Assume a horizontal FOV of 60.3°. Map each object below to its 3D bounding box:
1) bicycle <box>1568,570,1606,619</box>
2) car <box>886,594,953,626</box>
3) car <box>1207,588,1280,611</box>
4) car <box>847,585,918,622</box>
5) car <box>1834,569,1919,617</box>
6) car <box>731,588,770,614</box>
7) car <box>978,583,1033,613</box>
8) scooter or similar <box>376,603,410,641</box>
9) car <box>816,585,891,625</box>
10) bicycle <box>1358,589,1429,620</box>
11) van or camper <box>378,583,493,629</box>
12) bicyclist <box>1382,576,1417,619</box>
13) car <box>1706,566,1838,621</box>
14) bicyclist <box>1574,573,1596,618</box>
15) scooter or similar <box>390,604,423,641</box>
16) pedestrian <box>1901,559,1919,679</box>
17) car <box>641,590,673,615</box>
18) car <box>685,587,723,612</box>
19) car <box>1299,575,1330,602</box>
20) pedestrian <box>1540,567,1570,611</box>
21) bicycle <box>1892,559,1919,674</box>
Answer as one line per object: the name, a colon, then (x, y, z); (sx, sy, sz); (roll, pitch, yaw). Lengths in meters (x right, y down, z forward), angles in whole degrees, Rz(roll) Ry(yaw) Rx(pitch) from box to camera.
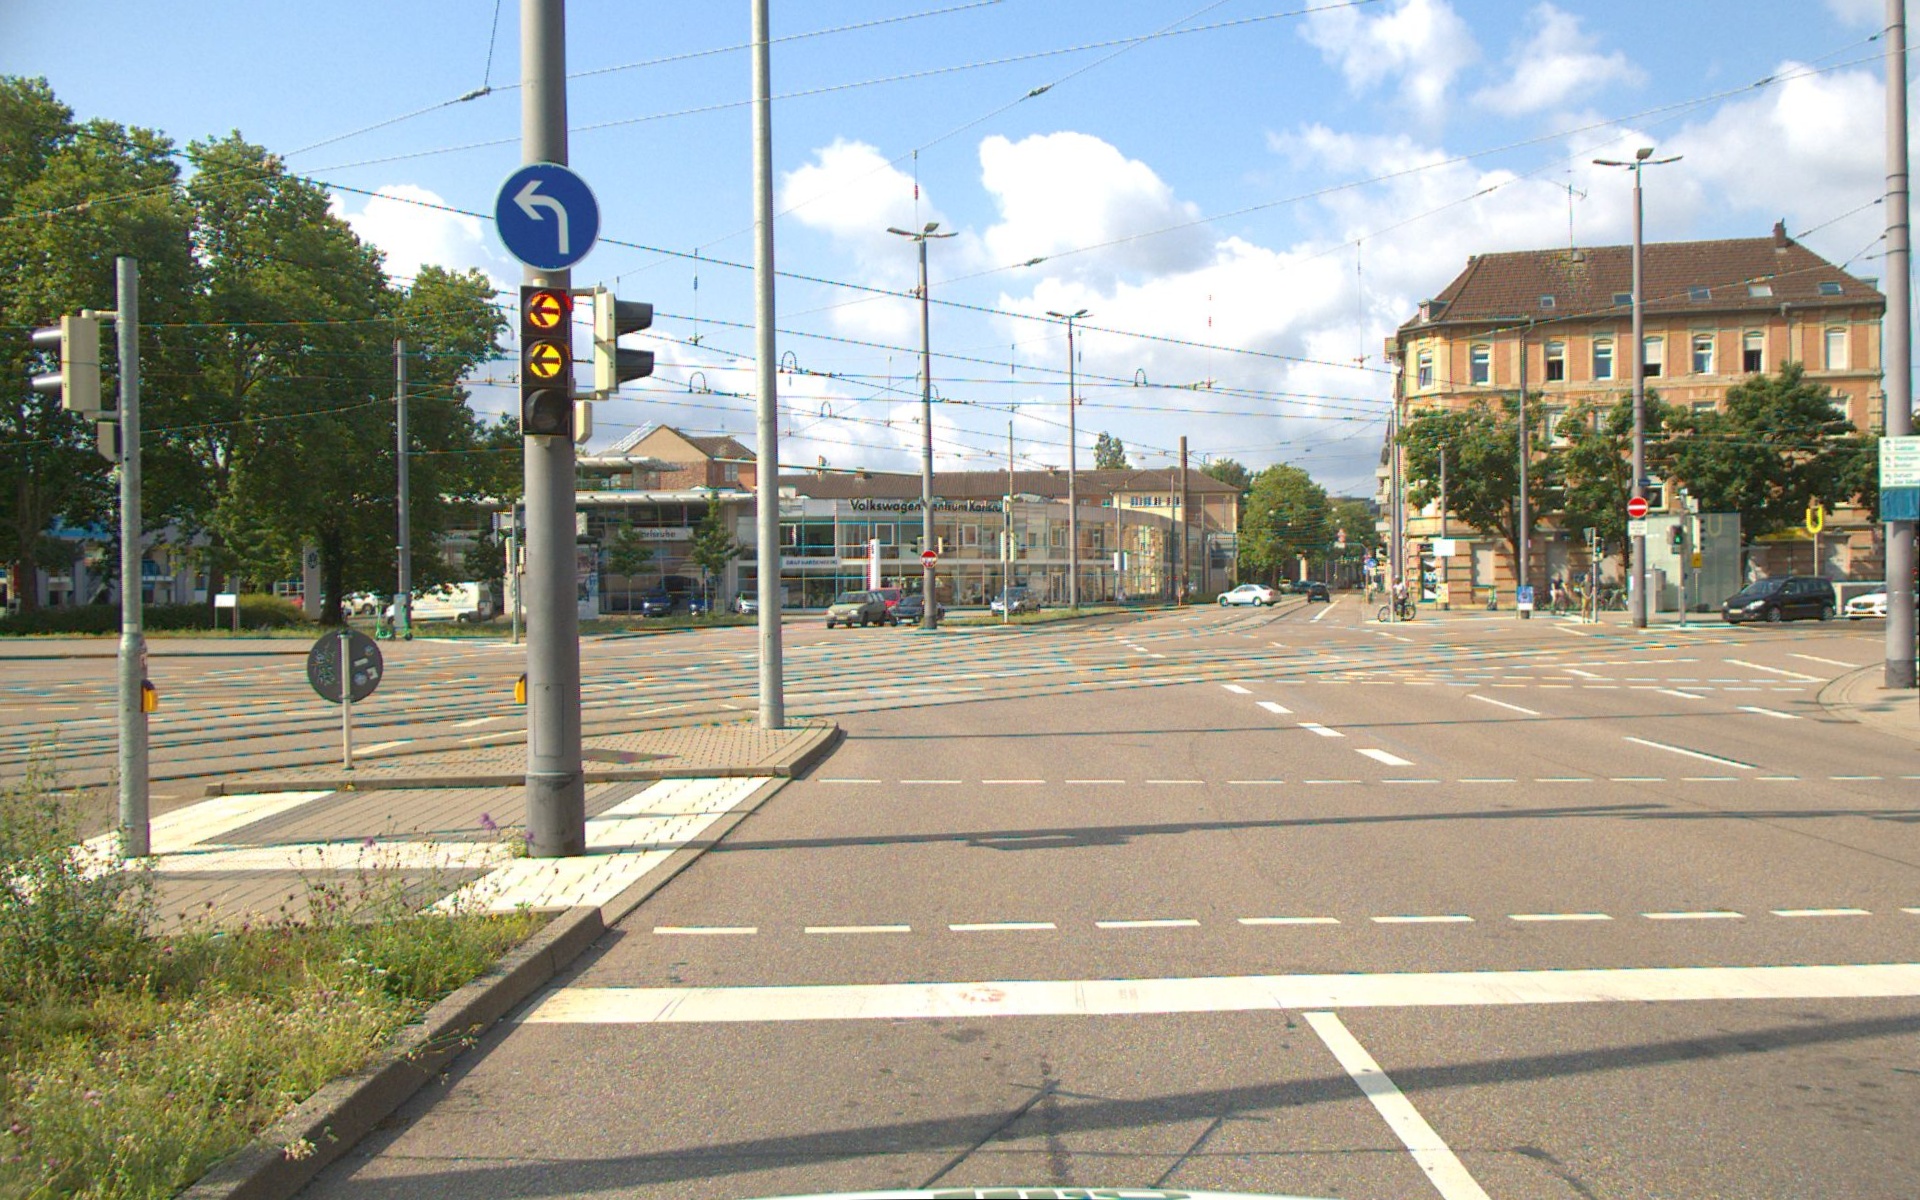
bicycle: (23.755, -0.215, 62.669); (0.715, 1.808, 1.636); (-1, 0, -4)
car: (-1.575, 0.407, 65.647); (1.587, 1.182, 4.003); (1, 0, 15)
car: (18.747, -0.036, 109.384); (4.379, 1.490, 1.780); (1, 0, 26)
car: (-3.316, 0.167, 71.500); (1.951, 1.545, 4.003); (1, 0, 15)
car: (33.977, -0.266, 59.801); (4.616, 1.623, 1.982); (-2, 1, -28)
car: (-13.170, 0.046, 104.061); (1.880, 1.579, 4.000); (-1, 0, 1)
car: (2.541, -0.116, 90.694); (1.952, 1.579, 4.002); (-1, 0, 18)
scooter or similar: (-18.815, 0.734, 54.918); (0.375, 1.177, 0.923); (5, 1, 45)
car: (-4.223, 0.216, 66.012); (1.782, 1.539, 4.003); (1, 0, 15)
bicycle: (17.490, 0.173, 66.781); (2.618, 1.191, 0.900); (-1, 0, -4)
van or camper: (-30.191, 0.344, 95.275); (5.754, 2.512, 2.394); (1, 0, 3)
bicyclist: (17.730, -0.106, 66.799); (1.170, 1.687, 0.785); (-1, 0, -4)
car: (27.967, -0.200, 56.934); (4.277, 1.770, 1.982); (1, 0, -28)
bicyclist: (23.642, -0.182, 62.583); (0.561, 1.700, 0.655); (-1, 0, -4)
scooter or similar: (-18.301, 0.742, 54.647); (0.374, 1.177, 0.927); (5, 1, 33)
pedestrian: (15.496, 0.312, 26.156); (0.972, 1.873, 0.995); (1, -1, 25)
car: (-18.764, 0.151, 102.315); (1.885, 1.470, 3.990); (-1, 0, -10)
car: (-15.754, -0.059, 101.952); (1.881, 1.470, 3.998); (-1, 0, -2)
car: (27.666, -0.914, 129.067); (1.951, 2.049, 4.002); (-1, 0, 17)
pedestrian: (24.806, -0.456, 68.965); (0.850, 1.841, 0.884); (1, -1, -13)
bicycle: (15.493, 0.265, 26.240); (0.985, 1.755, 2.467); (1, 0, 24)
